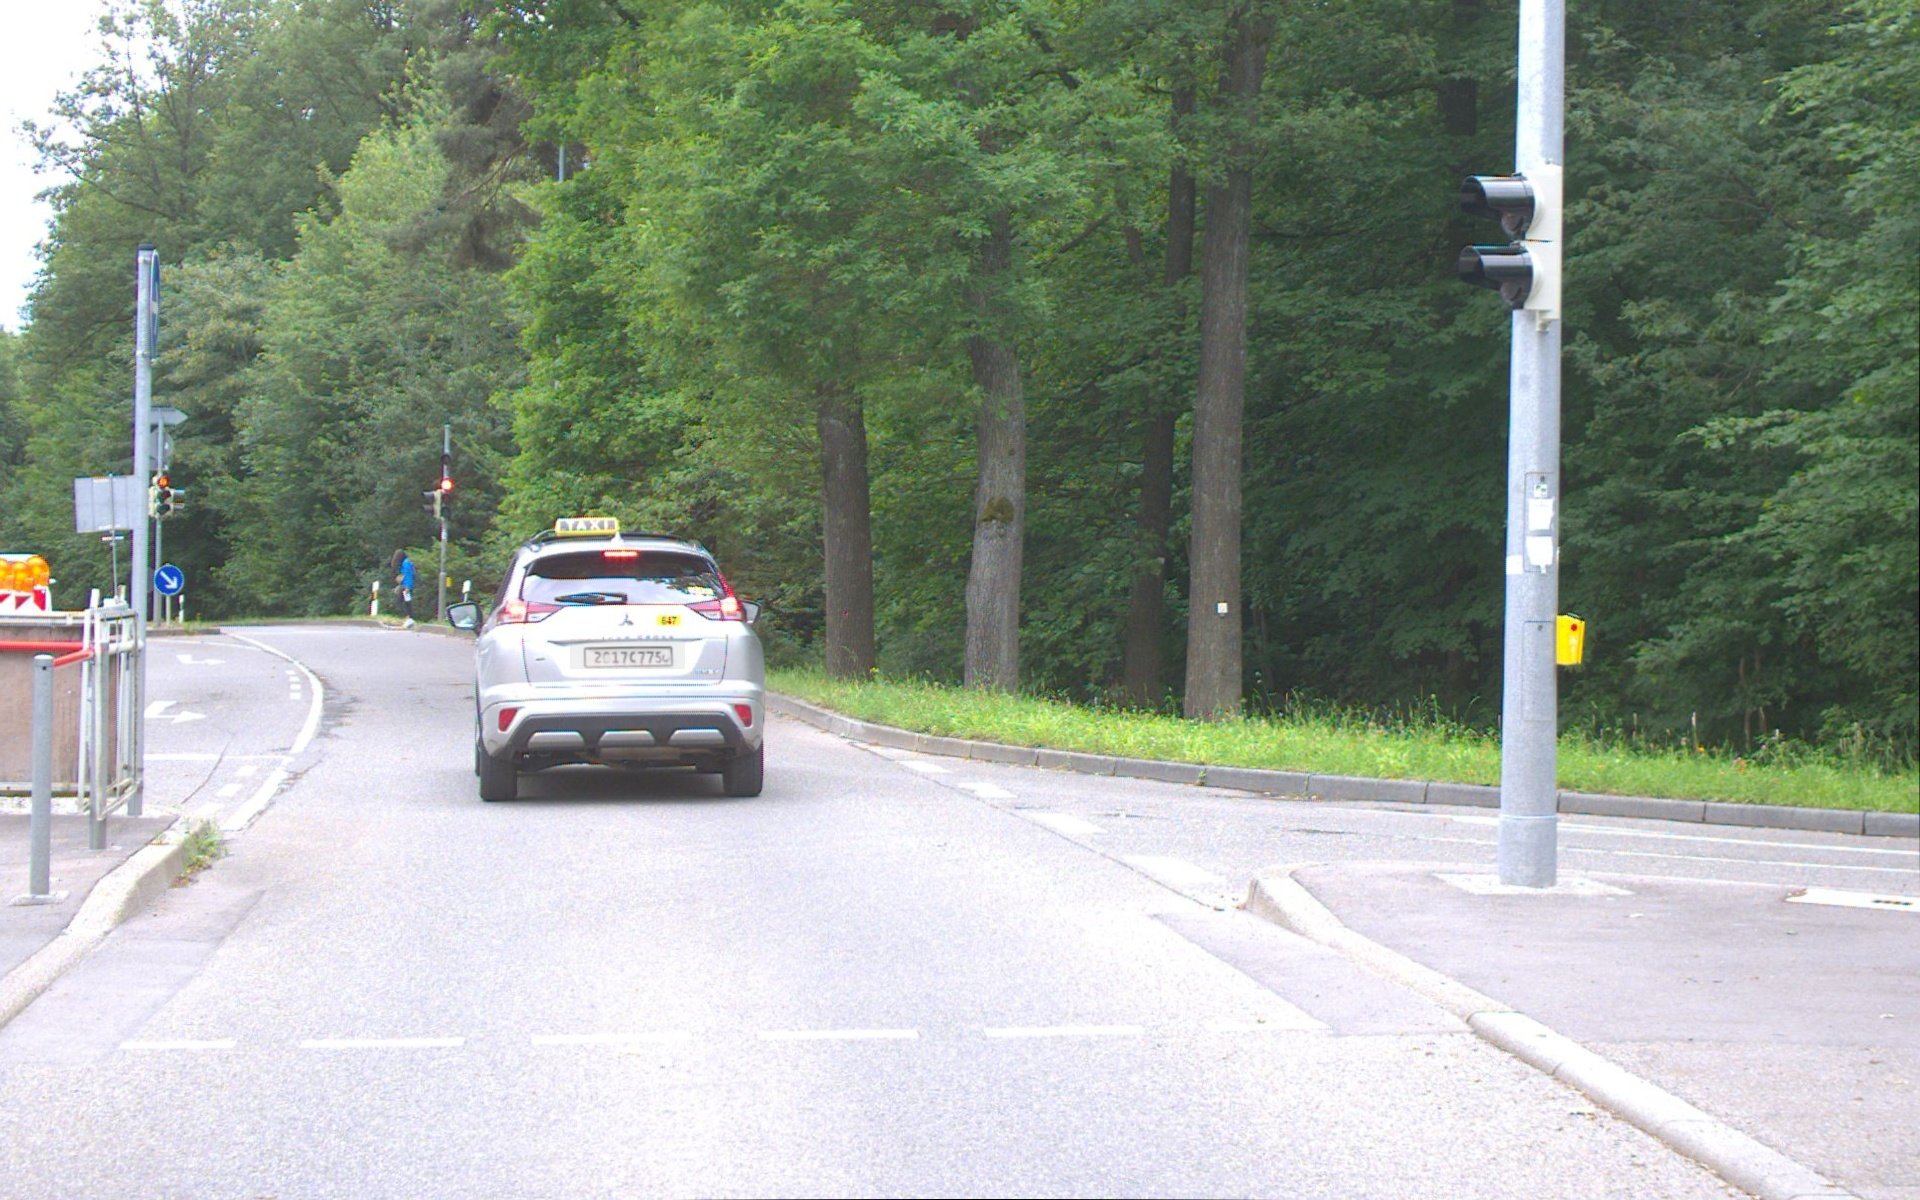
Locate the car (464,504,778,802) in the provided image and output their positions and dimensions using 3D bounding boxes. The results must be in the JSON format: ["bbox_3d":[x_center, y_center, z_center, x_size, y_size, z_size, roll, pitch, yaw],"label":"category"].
[{"bbox_3d":[-2.147,0.286,22.736,1.846,1.774,4.001,-1,1,-3],"label":"car"}]

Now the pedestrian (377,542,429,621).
[{"bbox_3d":[-11.755,-0.403,72.509,1.047,1.643,1.069,-1,1,-10],"label":"pedestrian"}]
